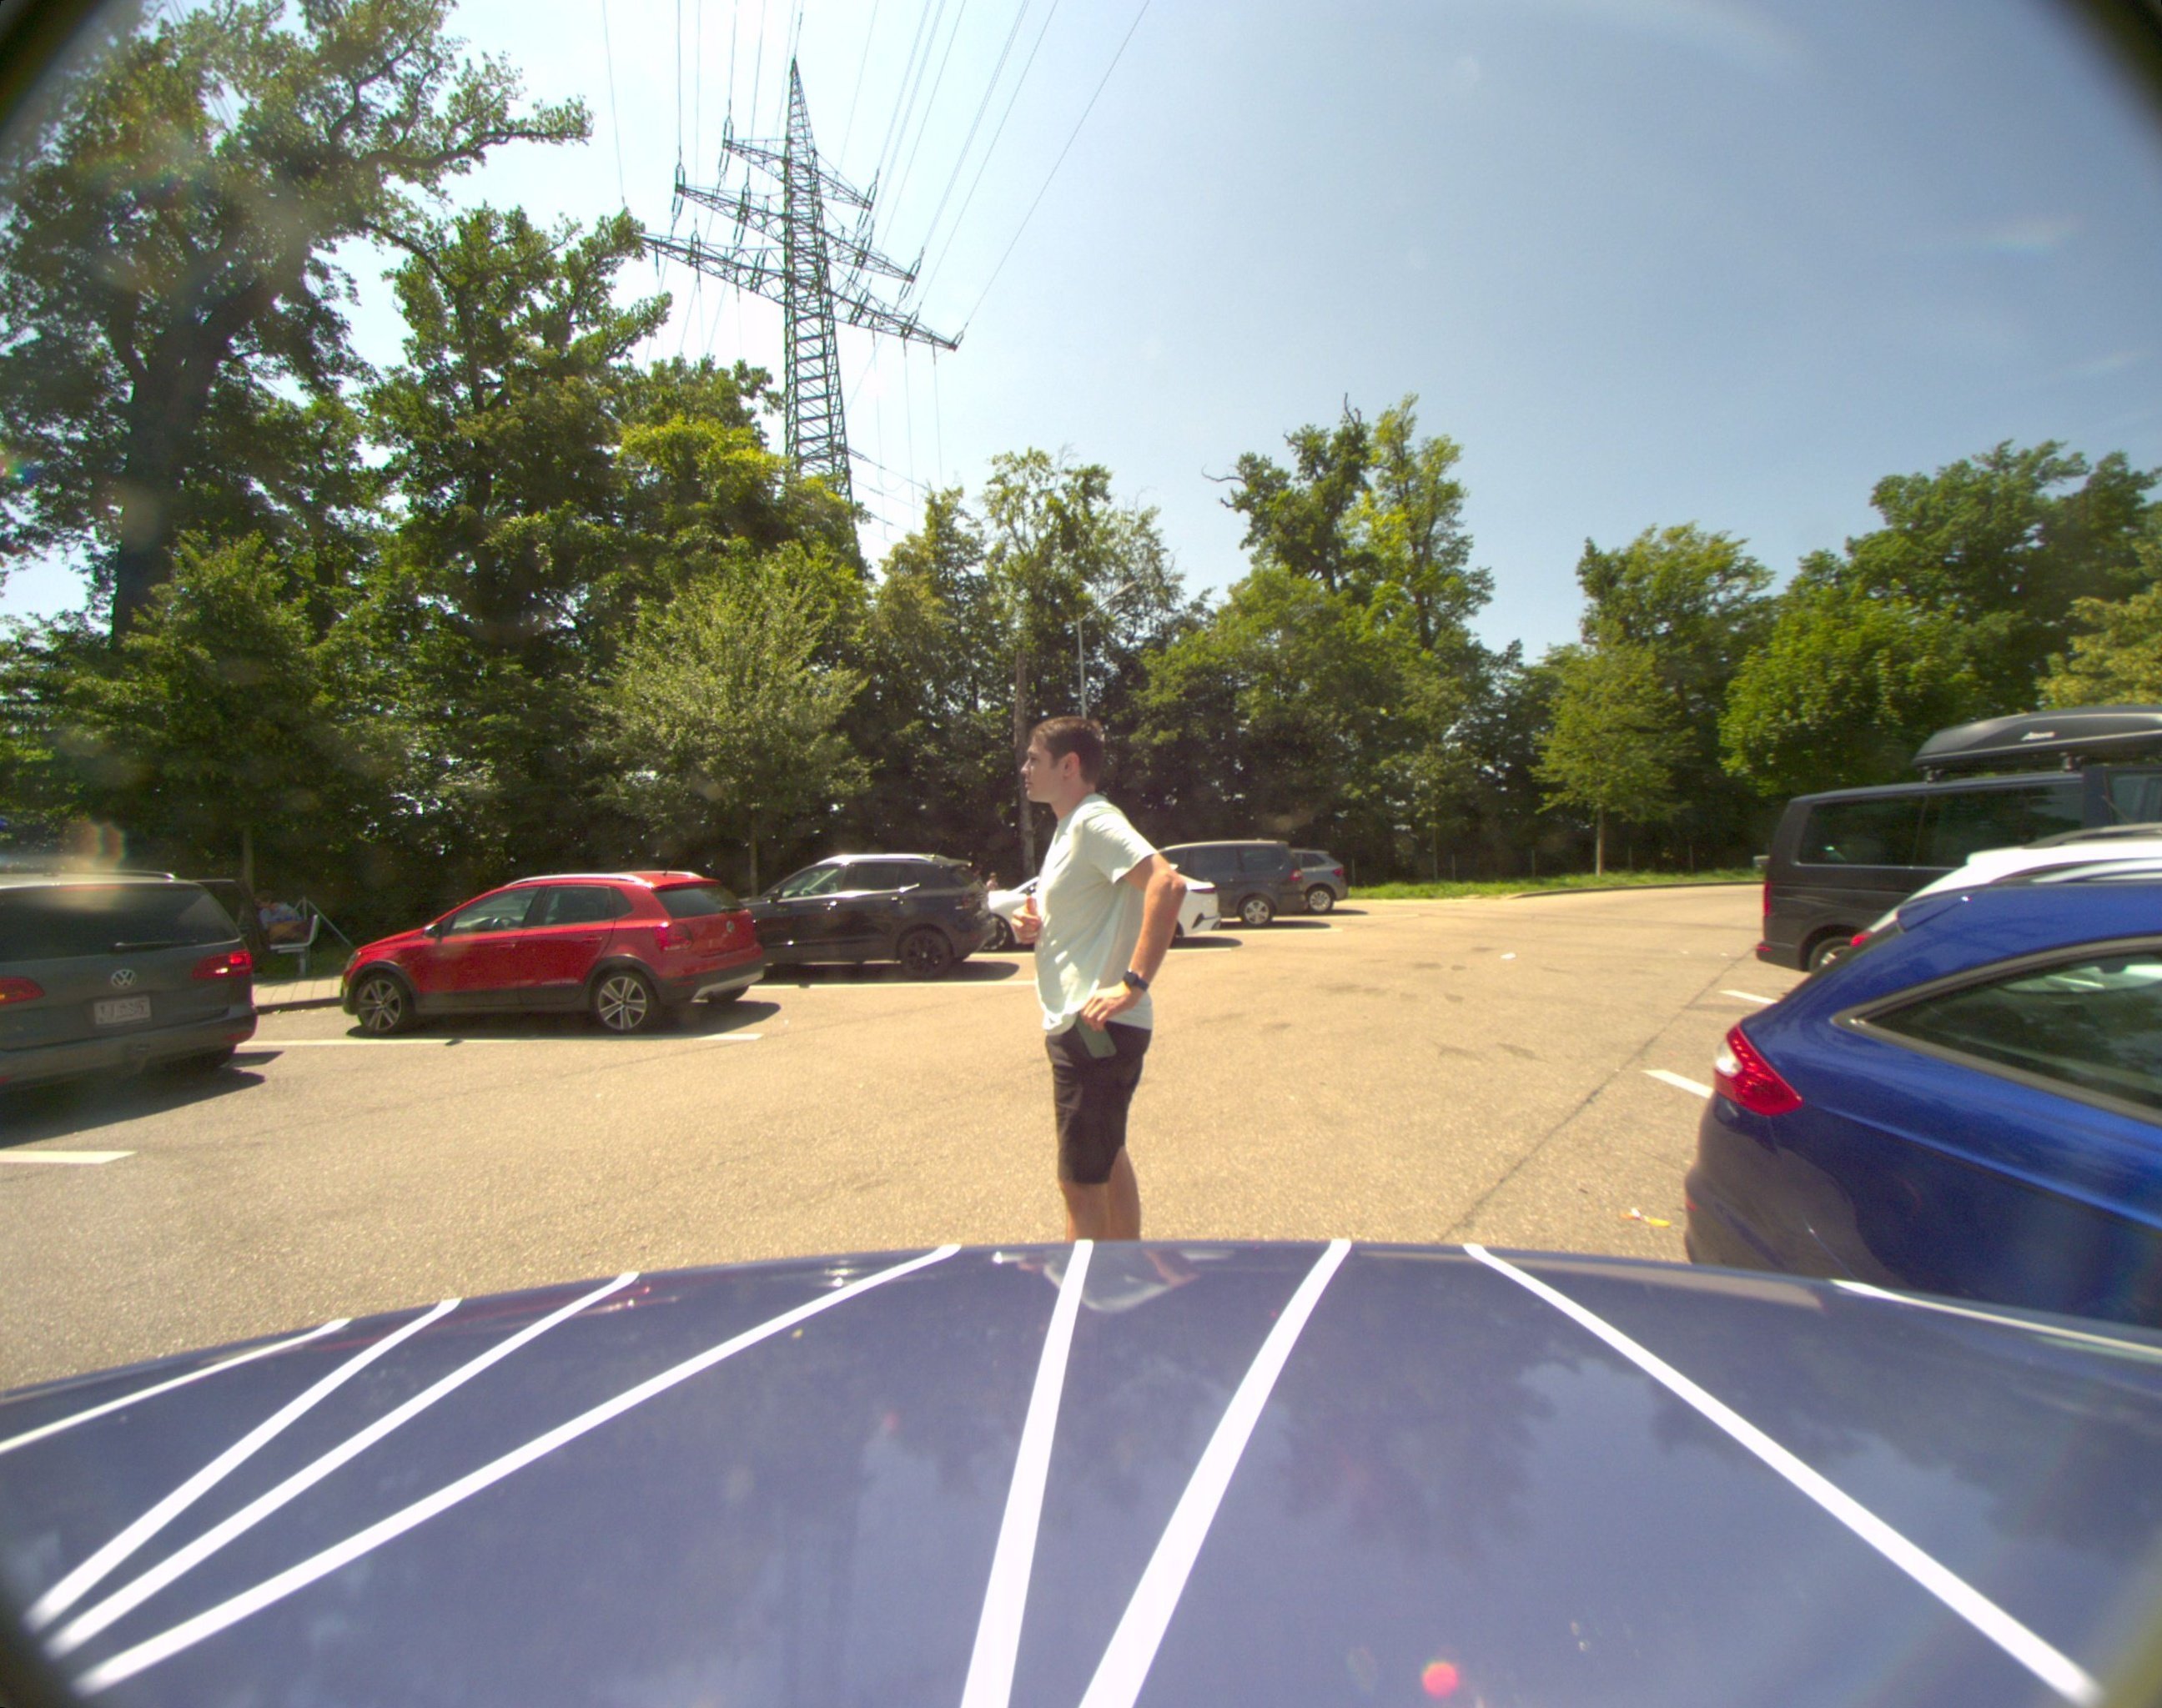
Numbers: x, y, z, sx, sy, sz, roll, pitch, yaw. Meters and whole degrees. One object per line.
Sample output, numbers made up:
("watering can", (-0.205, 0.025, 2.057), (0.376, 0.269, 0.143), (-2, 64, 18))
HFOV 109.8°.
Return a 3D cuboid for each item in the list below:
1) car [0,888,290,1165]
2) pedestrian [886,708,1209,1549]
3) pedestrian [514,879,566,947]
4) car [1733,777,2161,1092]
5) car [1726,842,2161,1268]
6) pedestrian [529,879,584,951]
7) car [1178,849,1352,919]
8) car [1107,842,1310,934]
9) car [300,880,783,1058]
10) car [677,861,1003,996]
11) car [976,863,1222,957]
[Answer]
("car", (-8.302, 1.108, 5.444), (3.985, 1.572, 1.749), (-1, 1, 12))
("pedestrian", (-0.012, 0.607, 2.143), (0.621, 1.831, 0.891), (-2, 1, 13))
("pedestrian", (-10.910, 1.166, 15.309), (0.782, 1.287, 0.670), (-1, 2, 45))
("car", (7.310, 0.435, 4.917), (1.961, 1.858, 4.642), (-3, -1, -3))
("car", (4.863, 0.723, 2.288), (1.741, 1.524, 4.642), (-3, -1, -2))
("pedestrian", (-10.026, 1.140, 14.519), (0.782, 1.287, 0.670), (-1, 2, 45))
("car", (4.328, 0.688, 18.159), (3.818, 1.530, 1.722), (-1, 1, 12))
("car", (2.576, 0.666, 15.456), (3.818, 1.714, 1.722), (-1, 1, 12))
("car", (-5.250, 1.067, 7.654), (3.785, 1.457, 1.722), (-1, 1, 9))
("car", (-3.077, 0.937, 10.264), (3.787, 1.564, 1.721), (-1, 1, 2))
("car", (0.353, 0.899, 12.730), (3.819, 1.377, 1.722), (-1, 1, 6))
